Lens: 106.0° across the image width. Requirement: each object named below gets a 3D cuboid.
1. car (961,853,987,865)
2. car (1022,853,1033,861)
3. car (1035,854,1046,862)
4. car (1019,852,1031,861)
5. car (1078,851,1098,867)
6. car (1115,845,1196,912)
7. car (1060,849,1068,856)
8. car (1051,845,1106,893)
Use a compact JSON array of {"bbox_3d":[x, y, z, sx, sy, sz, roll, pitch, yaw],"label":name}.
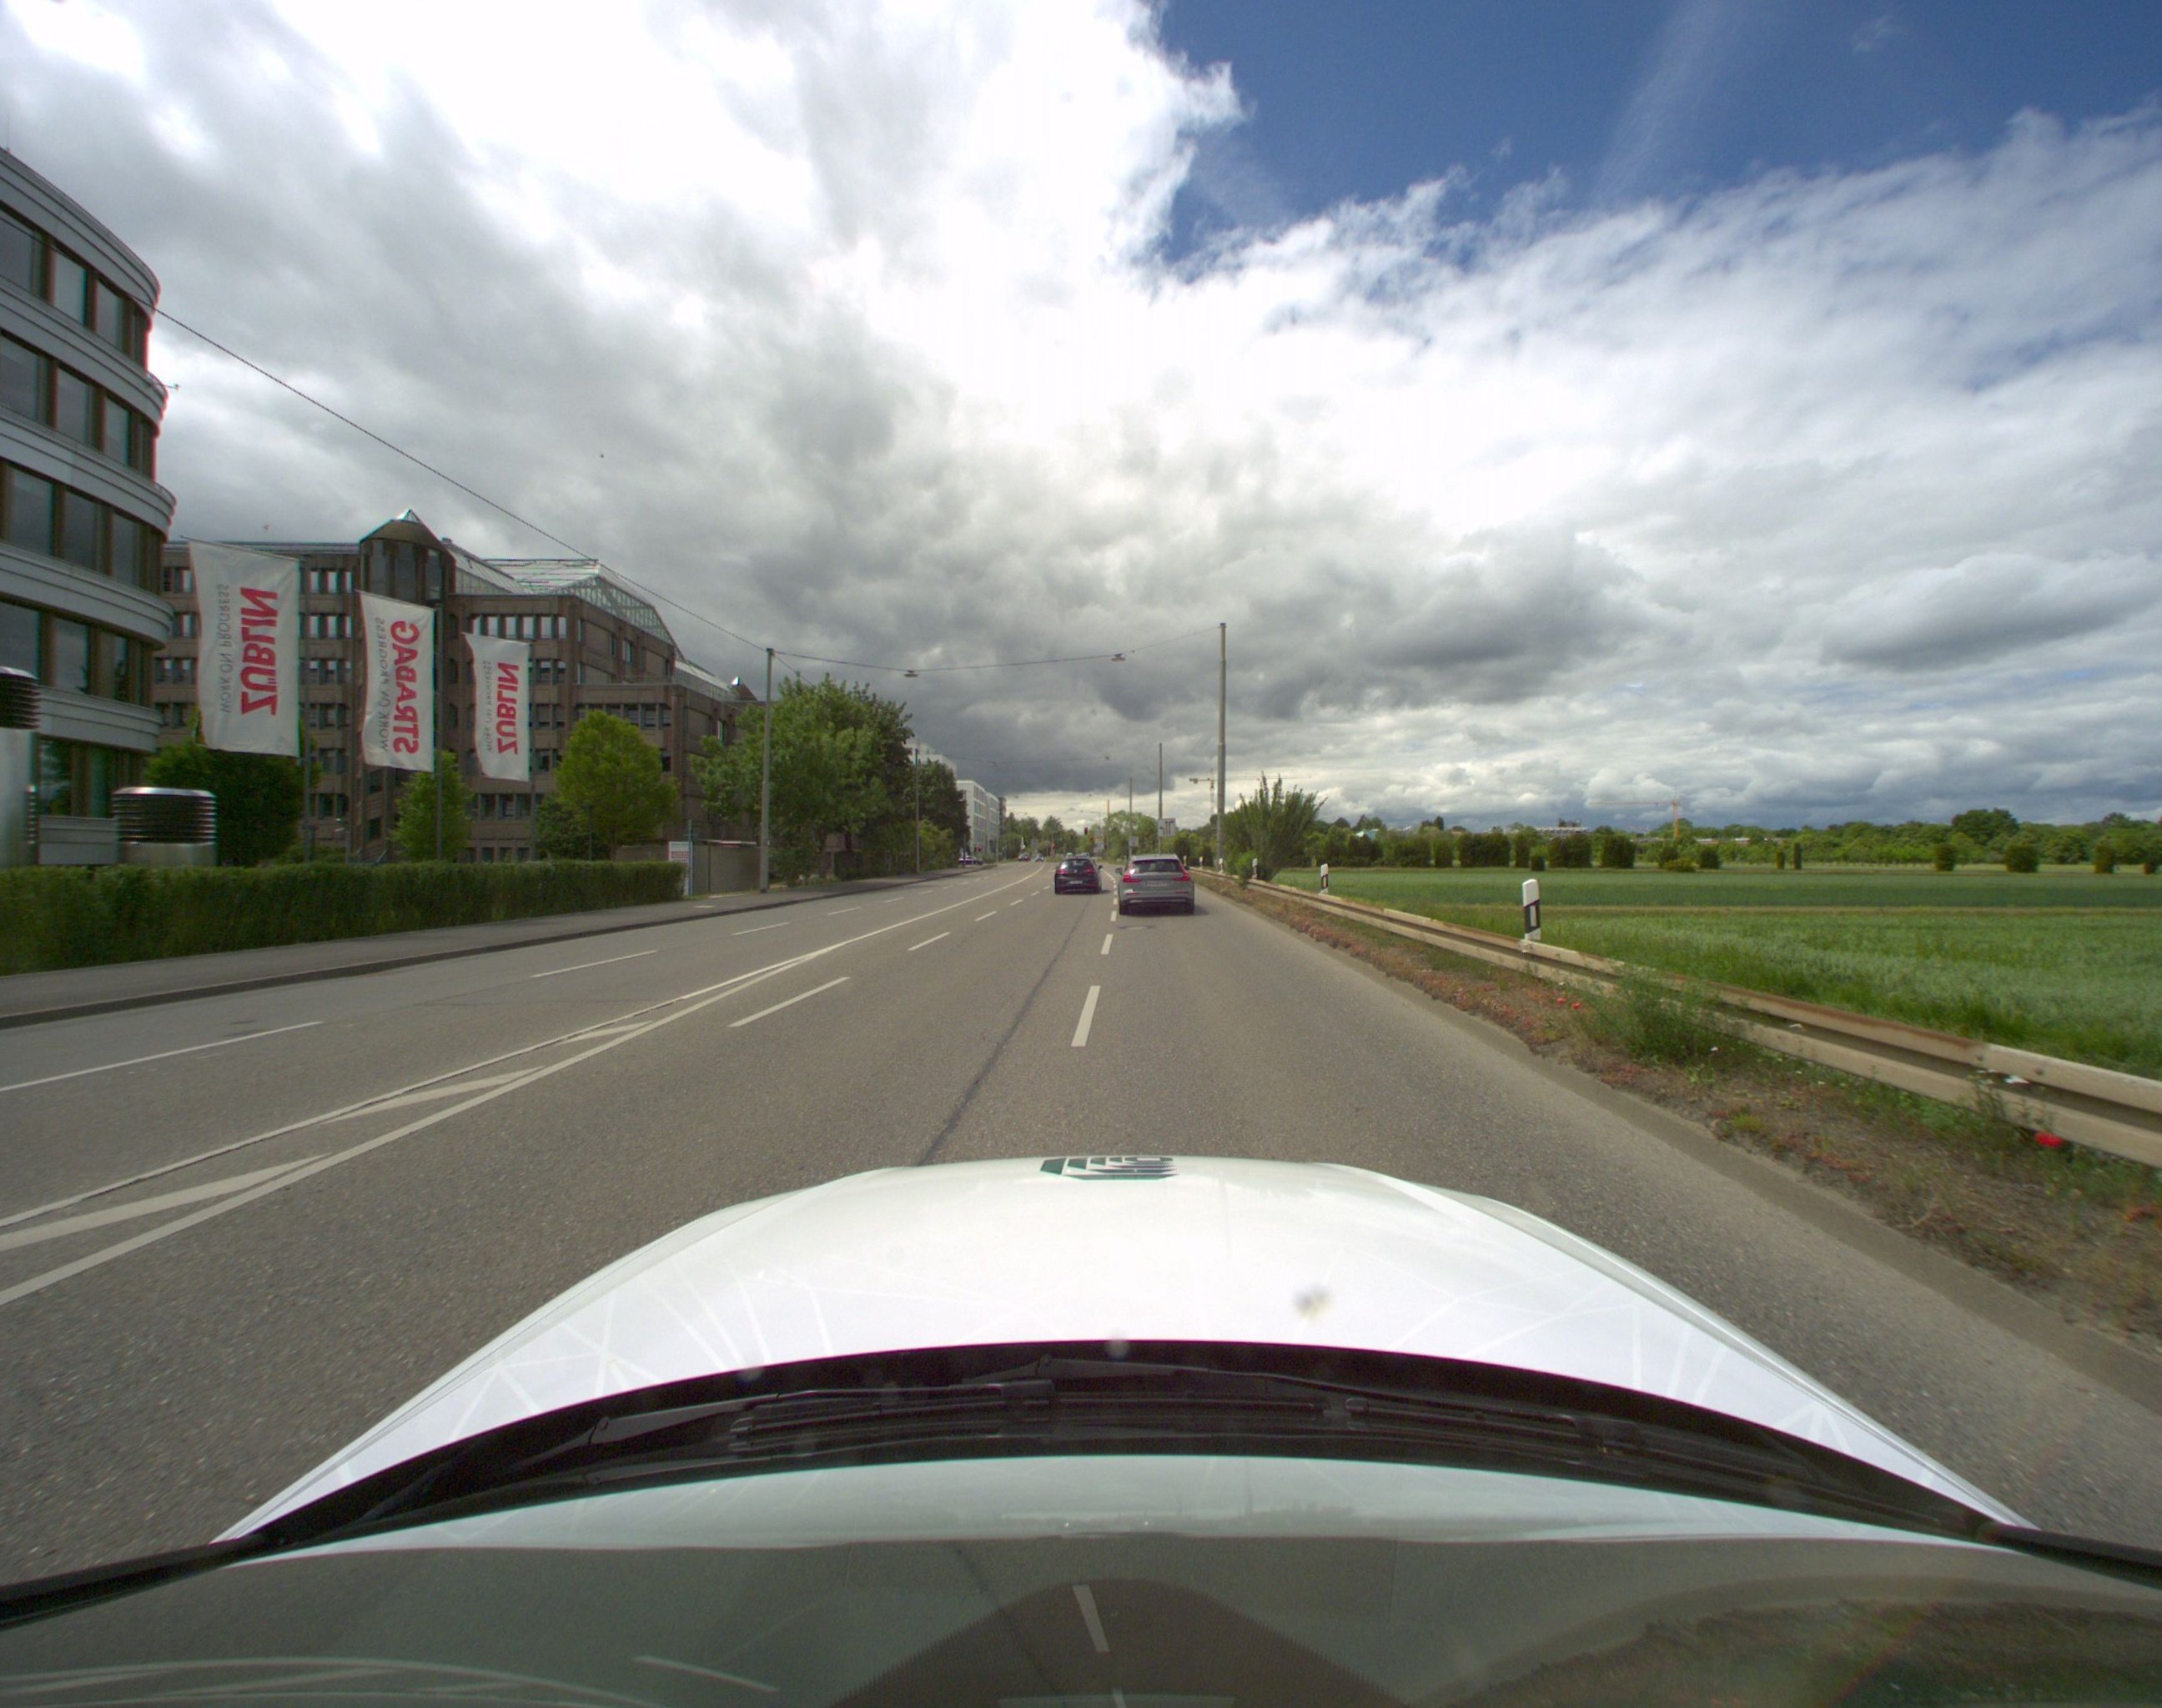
[{"bbox_3d":[-17.534,0.806,133.757,3.971,1.722,2.001,2,-1,2],"label":"car"},{"bbox_3d":[-11.974,0.723,182.771,1.874,1.717,4.002,2,-1,2],"label":"car"},{"bbox_3d":[-8.123,0.740,164.714,1.874,1.520,4.002,2,-1,2],"label":"car"},{"bbox_3d":[-11.445,0.548,166.805,1.874,1.717,4.002,2,-1,2],"label":"car"},{"bbox_3d":[0.786,0.618,92.322,1.985,1.695,4.003,2,-1,4],"label":"car"},{"bbox_3d":[1.937,0.609,21.113,1.886,1.554,4.005,0,-1,5],"label":"car"},{"bbox_3d":[-4.664,-0.401,221.762,1.943,1.750,4.387,2,-1,-1],"label":"car"},{"bbox_3d":[-0.034,0.593,32.576,1.986,1.717,4.002,2,-1,2],"label":"car"}]
